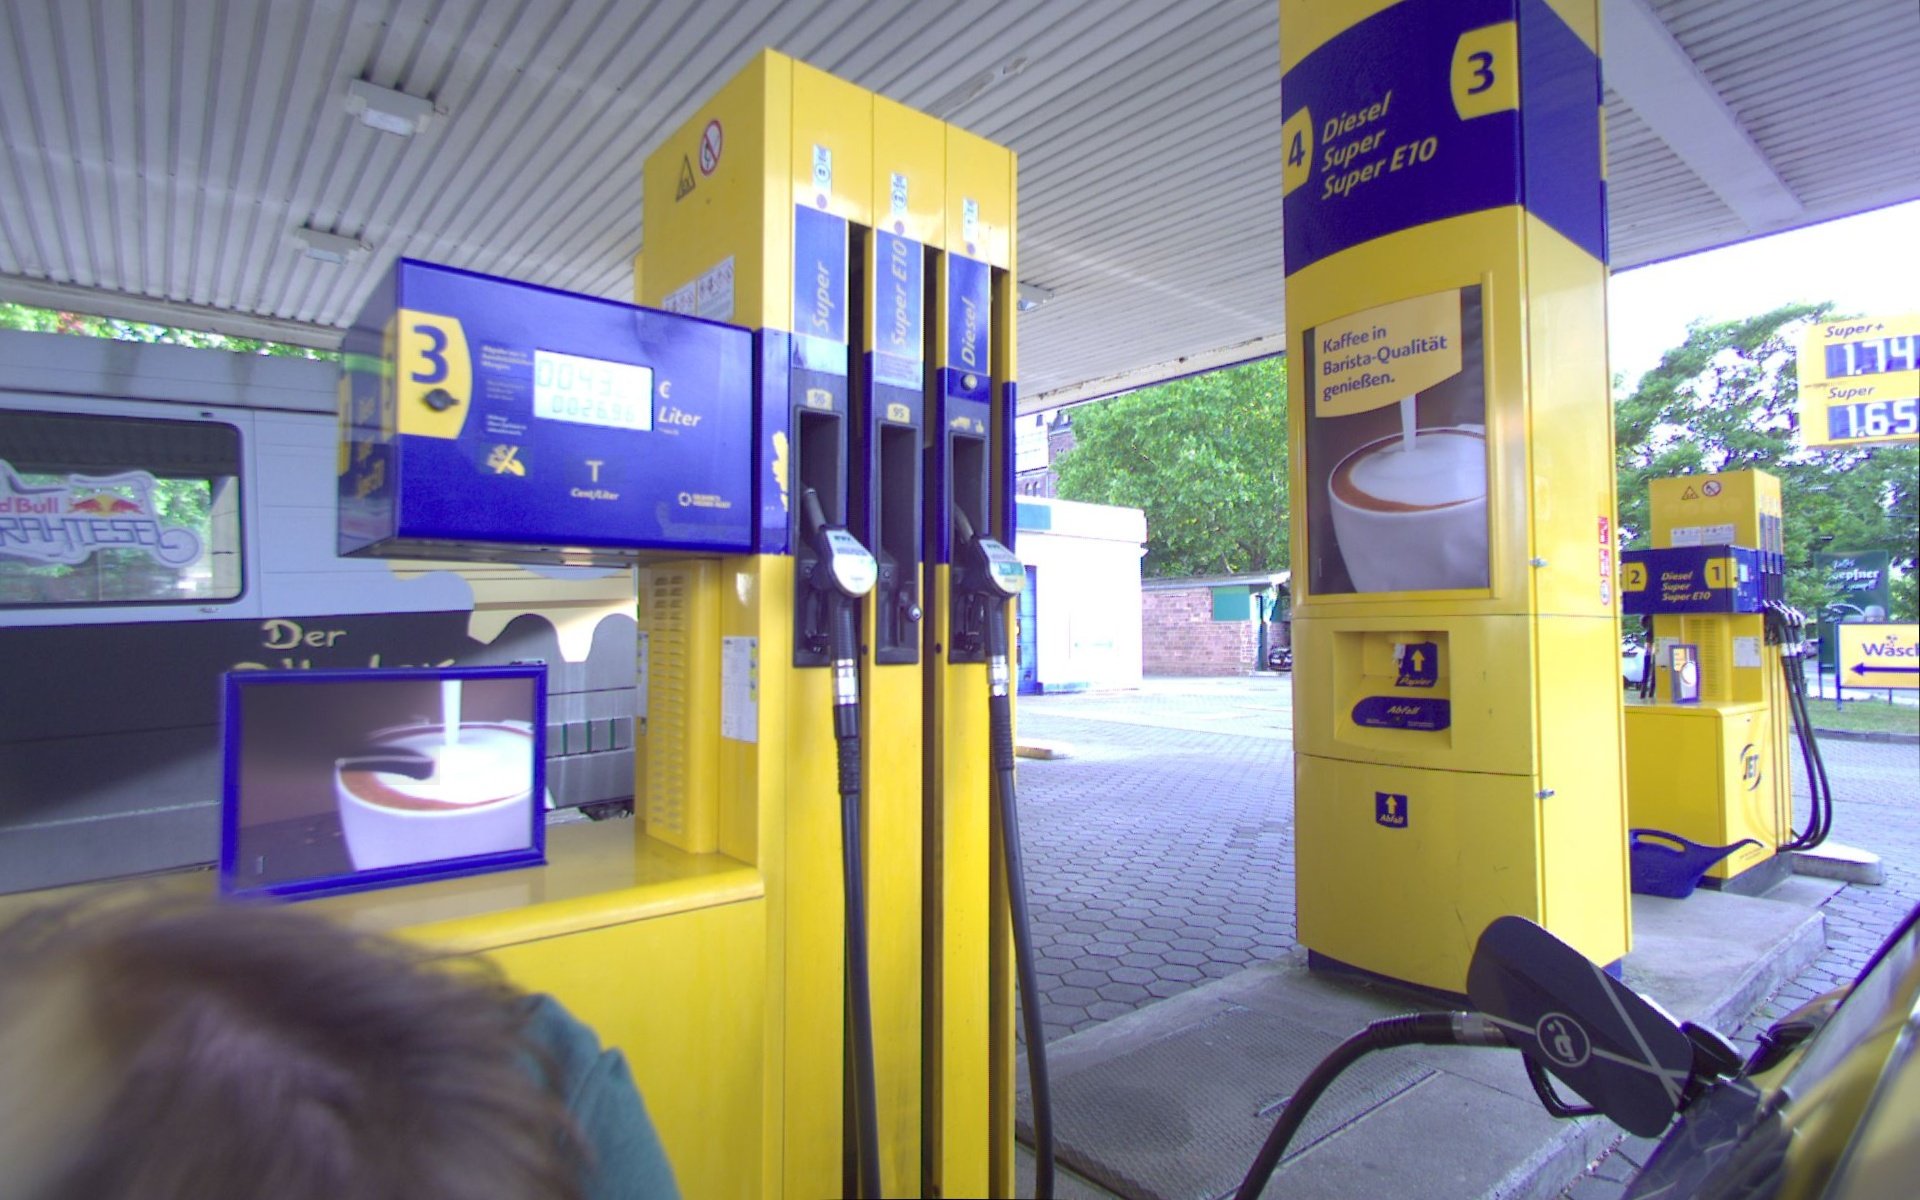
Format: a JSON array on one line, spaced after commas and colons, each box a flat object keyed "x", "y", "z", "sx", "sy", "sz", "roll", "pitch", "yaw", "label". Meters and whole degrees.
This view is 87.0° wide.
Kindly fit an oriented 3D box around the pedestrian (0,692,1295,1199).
[{"x": -0.331, "y": 0.749, "z": 0.544, "sx": 0.662, "sy": 1.298, "sz": 0.751, "roll": 0, "pitch": 0, "yaw": -41, "label": "pedestrian"}]

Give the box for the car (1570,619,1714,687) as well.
[{"x": 18.363, "y": 1.441, "z": 27.198, "sx": 4.308, "sy": 1.622, "sz": 1.774, "roll": 4, "pitch": -4, "yaw": -35, "label": "car"}]

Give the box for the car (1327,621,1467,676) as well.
[{"x": 13.895, "y": 1.524, "z": 32.132, "sx": 4.303, "sy": 1.622, "sz": 1.777, "roll": 2, "pitch": -1, "yaw": -28, "label": "car"}]

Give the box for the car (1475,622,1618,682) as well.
[{"x": 17.854, "y": 1.583, "z": 30.797, "sx": 4.303, "sy": 1.622, "sz": 1.776, "roll": 4, "pitch": -4, "yaw": -28, "label": "car"}]

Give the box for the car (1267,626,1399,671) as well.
[{"x": 12.698, "y": 1.646, "z": 34.424, "sx": 4.303, "sy": 1.393, "sz": 1.777, "roll": 2, "pitch": -1, "yaw": -28, "label": "car"}]

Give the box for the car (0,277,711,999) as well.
[{"x": -4.105, "y": 0.159, "z": 4.892, "sx": 5.197, "sy": 2.726, "sz": 2.258, "roll": 1, "pitch": -2, "yaw": -39, "label": "car"}]
